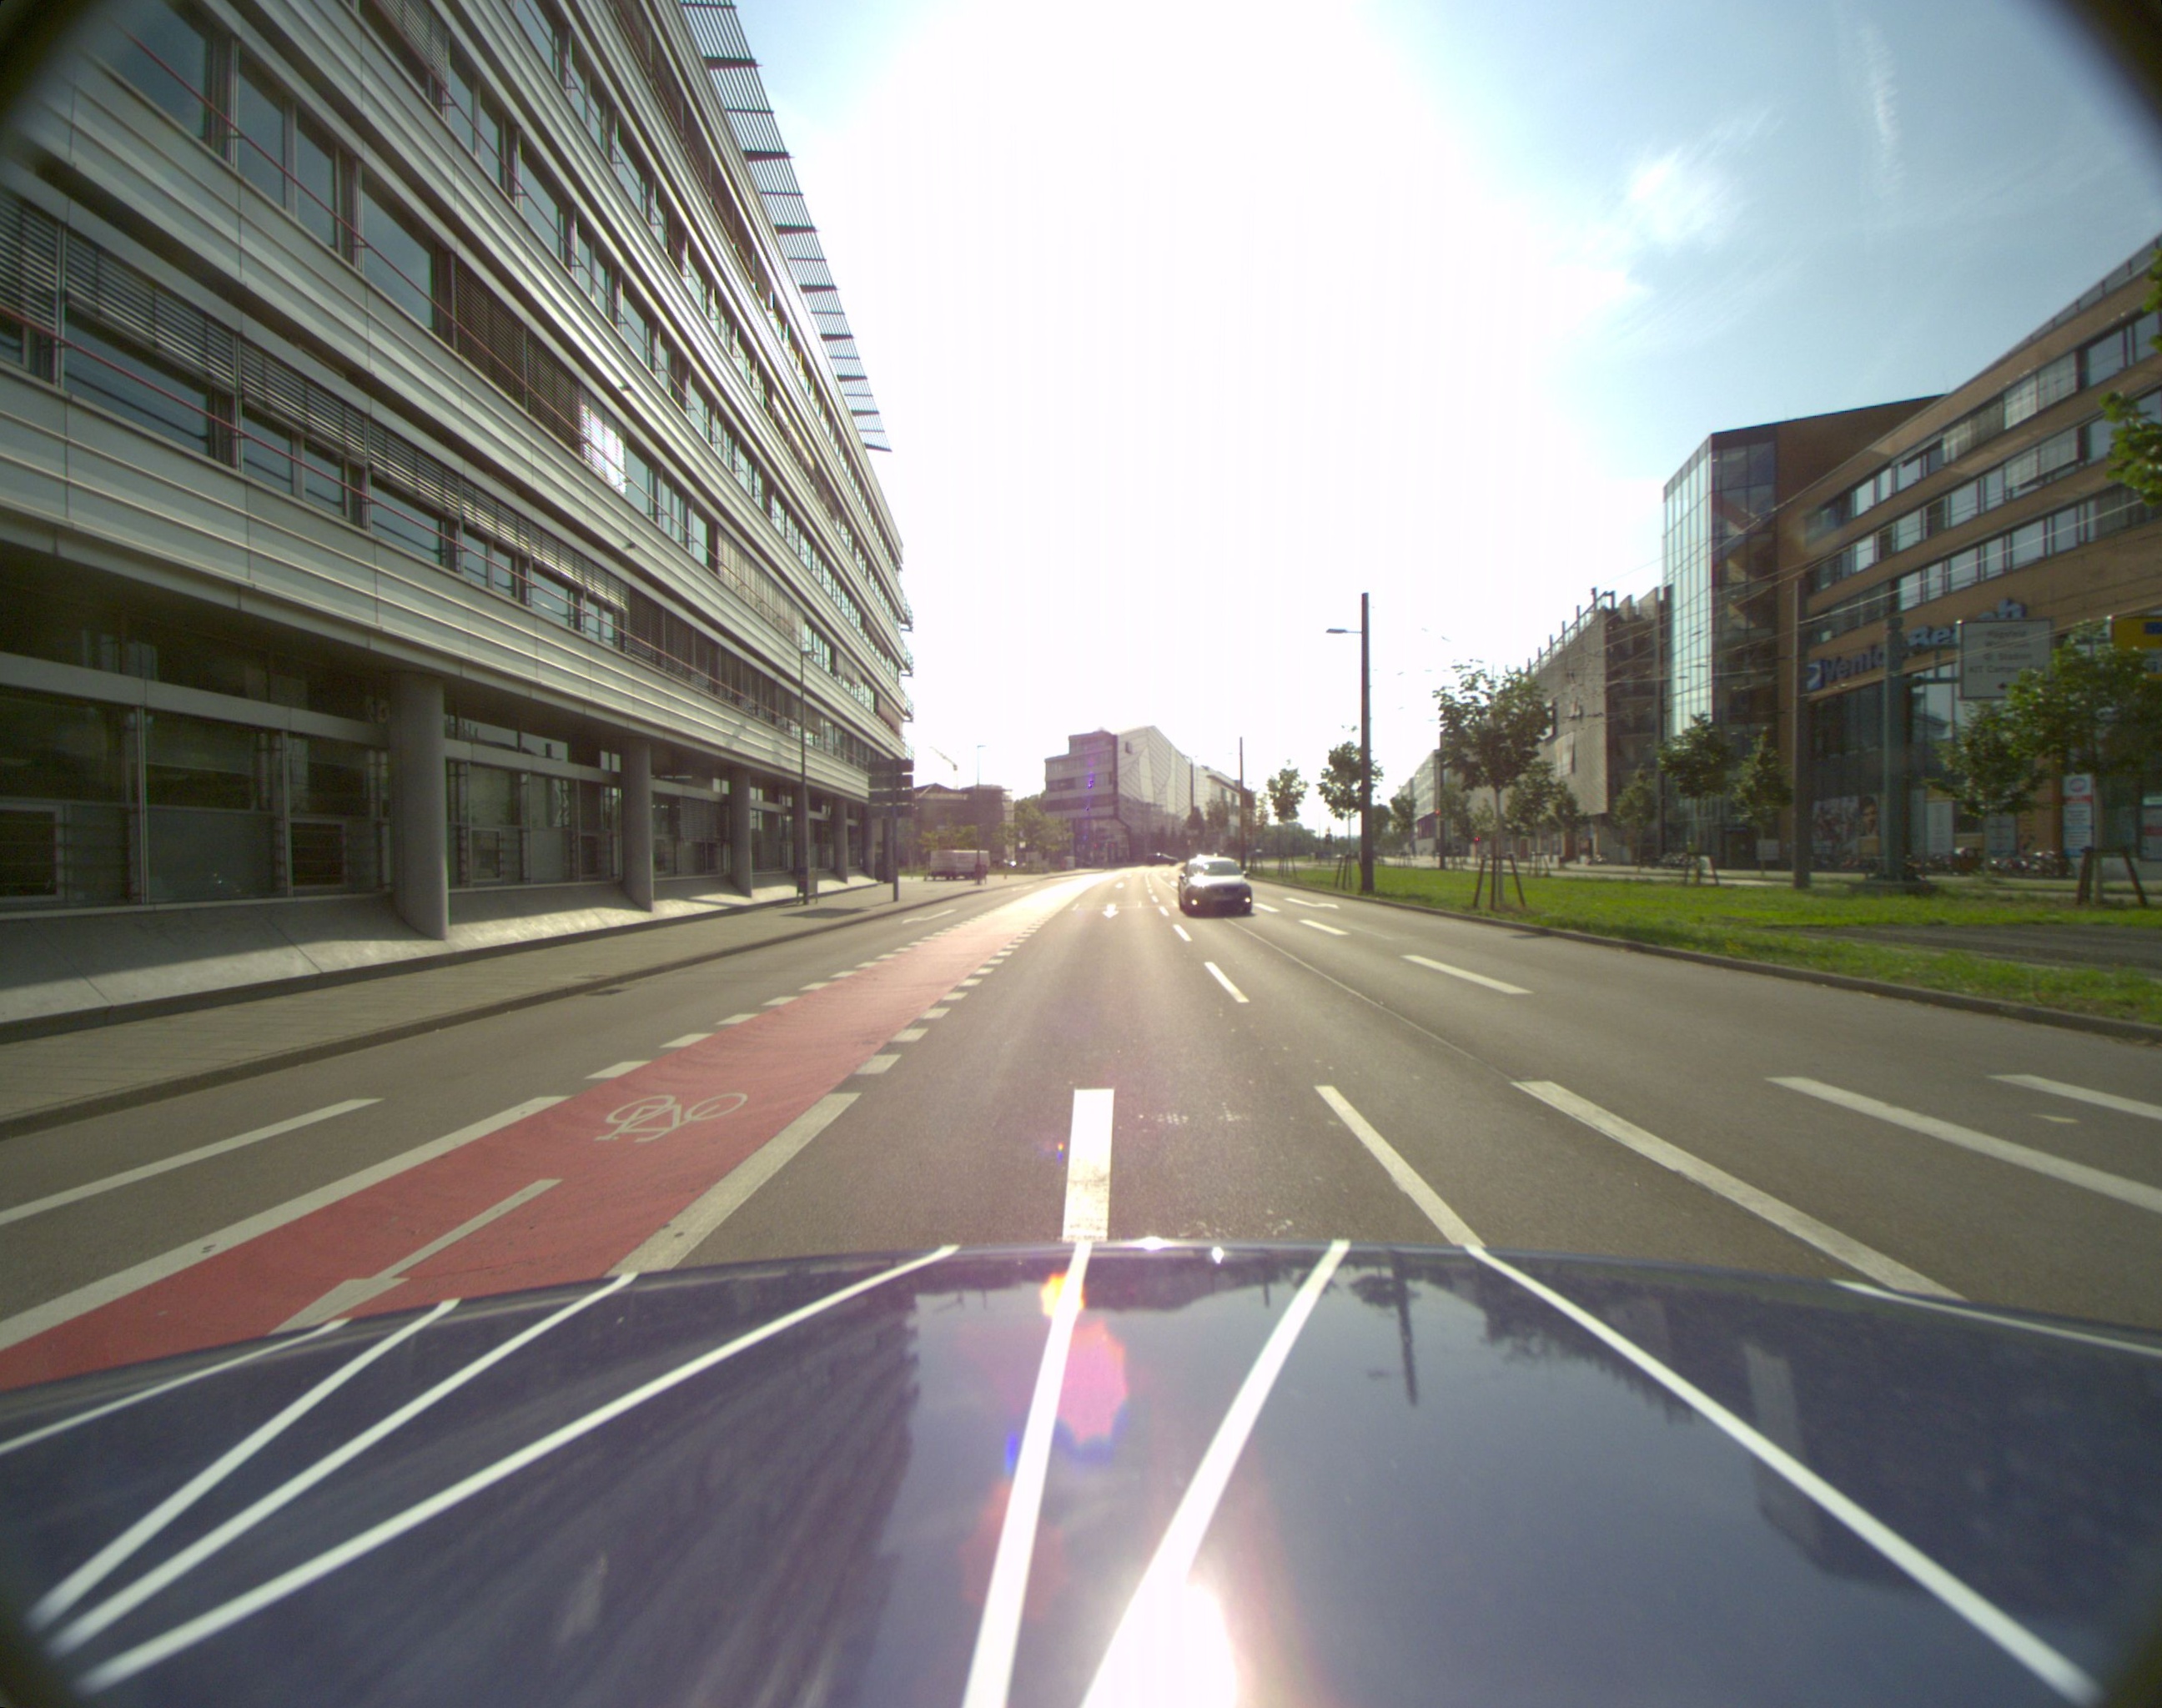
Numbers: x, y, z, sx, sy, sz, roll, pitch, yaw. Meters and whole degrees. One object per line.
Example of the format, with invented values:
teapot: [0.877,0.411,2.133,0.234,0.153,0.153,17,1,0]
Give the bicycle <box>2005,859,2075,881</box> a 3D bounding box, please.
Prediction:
bicycle: [40.777,0.680,32.330,2.051,0.916,0.381,-1,1,13]

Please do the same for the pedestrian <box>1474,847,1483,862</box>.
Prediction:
pedestrian: [43.217,0.038,82.621,0.762,1.570,0.590,-1,1,15]

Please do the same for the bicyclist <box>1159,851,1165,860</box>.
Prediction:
bicyclist: [14.025,0.256,131.265,0.781,1.577,0.933,0,2,25]

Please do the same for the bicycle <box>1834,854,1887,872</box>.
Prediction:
bicycle: [42.673,0.499,41.600,2.051,0.916,0.574,-1,1,13]

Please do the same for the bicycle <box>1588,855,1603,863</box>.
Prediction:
bicycle: [45.152,0.439,66.675,1.022,0.747,0.361,-1,1,20]

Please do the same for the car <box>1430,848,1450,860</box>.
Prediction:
car: [38.720,-0.010,81.944,1.367,1.199,2.640,0,2,13]

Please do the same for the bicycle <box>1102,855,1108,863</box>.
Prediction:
bicycle: [3.542,0.749,110.271,0.669,1.092,1.805,-1,2,8]

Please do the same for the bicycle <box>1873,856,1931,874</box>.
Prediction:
bicycle: [42.136,0.560,39.022,2.051,0.916,0.574,-1,1,13]

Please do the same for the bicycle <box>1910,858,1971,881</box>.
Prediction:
bicycle: [35.627,0.645,31.516,1.679,0.902,0.710,-1,1,3]

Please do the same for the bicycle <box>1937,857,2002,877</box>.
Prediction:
bicycle: [41.546,0.608,35.553,2.051,0.916,0.574,-1,1,13]

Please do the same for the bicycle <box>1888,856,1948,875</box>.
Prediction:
bicycle: [42.016,0.585,38.166,2.051,0.916,0.574,-1,1,13]

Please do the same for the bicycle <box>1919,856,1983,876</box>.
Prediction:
bicycle: [41.700,0.596,36.442,2.051,0.916,0.574,-1,1,13]

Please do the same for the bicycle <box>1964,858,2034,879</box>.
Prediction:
bicycle: [41.009,0.648,33.960,2.051,0.916,0.574,-1,1,13]

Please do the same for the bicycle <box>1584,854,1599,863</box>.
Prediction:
bicycle: [45.557,0.407,67.797,1.004,0.747,0.453,-1,1,20]

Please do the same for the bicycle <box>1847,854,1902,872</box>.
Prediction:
bicycle: [42.532,0.500,40.737,2.051,0.916,0.574,-1,1,13]

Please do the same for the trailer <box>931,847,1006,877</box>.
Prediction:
trailer: [-8.289,0.571,56.664,2.390,2.138,5.960,-1,0,30]

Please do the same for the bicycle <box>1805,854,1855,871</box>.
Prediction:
bicycle: [43.110,0.488,43.721,2.051,0.916,0.574,-1,1,13]

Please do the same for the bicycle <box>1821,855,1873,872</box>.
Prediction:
bicycle: [42.945,0.515,42.595,2.051,0.916,0.574,-1,1,13]

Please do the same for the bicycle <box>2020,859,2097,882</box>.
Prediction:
bicycle: [40.647,0.704,31.605,2.051,0.916,0.574,-1,1,13]

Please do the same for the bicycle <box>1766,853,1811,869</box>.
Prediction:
bicycle: [44.028,0.431,47.283,2.051,0.916,0.574,-1,1,13]

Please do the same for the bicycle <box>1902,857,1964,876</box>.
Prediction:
bicycle: [41.835,0.604,37.325,2.051,0.916,0.574,-1,1,13]

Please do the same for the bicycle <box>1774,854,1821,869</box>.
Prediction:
bicycle: [43.885,0.456,46.560,2.051,0.916,0.574,-1,1,13]

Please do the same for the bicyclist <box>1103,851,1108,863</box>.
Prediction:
bicyclist: [3.558,0.432,110.353,0.669,1.693,0.637,-1,2,8]

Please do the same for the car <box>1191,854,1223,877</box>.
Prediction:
car: [7.938,0.703,47.917,1.587,1.335,3.165,-1,0,2]

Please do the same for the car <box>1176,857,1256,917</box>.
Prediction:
car: [3.546,0.813,20.592,1.643,1.411,3.895,-1,1,3]
